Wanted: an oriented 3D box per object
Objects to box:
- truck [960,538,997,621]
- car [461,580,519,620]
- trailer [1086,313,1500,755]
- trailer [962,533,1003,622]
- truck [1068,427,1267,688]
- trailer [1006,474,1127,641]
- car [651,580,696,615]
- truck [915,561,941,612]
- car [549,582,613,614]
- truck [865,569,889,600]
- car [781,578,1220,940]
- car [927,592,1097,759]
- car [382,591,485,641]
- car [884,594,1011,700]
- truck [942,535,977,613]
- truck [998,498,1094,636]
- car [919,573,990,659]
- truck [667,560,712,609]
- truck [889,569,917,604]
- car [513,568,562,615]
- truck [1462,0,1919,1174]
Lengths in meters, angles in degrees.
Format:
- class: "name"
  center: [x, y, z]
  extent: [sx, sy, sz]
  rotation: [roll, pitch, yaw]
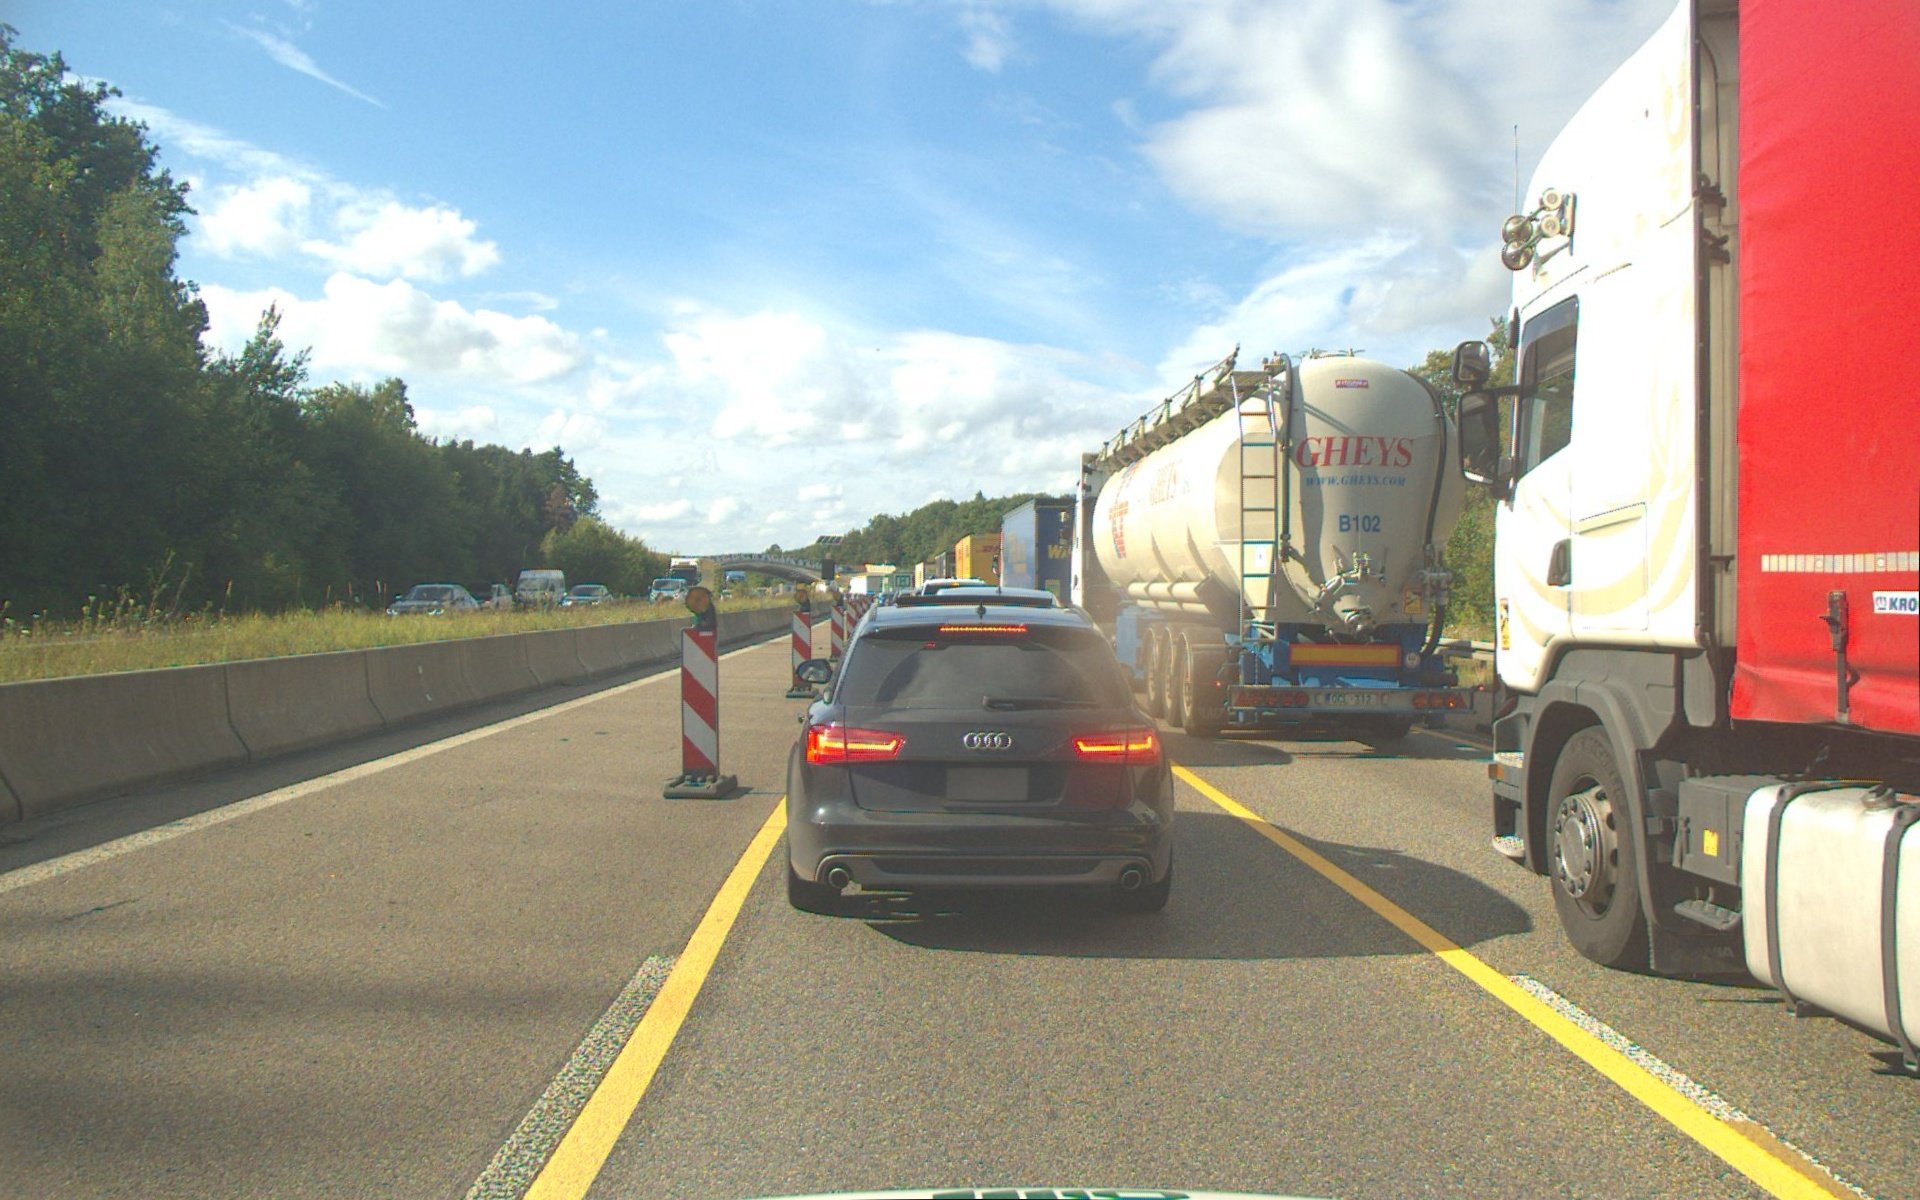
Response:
- class: "truck"
  center: [0.892, -0.978, 81.077]
  extent: [1.577, 3.965, 4.070]
  rotation: [1, 0, -2]
- class: "car"
  center: [-24.933, 0.001, 87.793]
  extent: [1.953, 2.049, 3.999]
  rotation: [1, 0, -1]
- class: "trailer"
  center: [3.549, -0.620, 21.512]
  extent: [2.590, 4.012, 12.595]
  rotation: [1, 0, -1]
- class: "trailer"
  center: [1.003, -0.996, 77.308]
  extent: [1.584, 3.987, 6.487]
  rotation: [1, 0, -2]
- class: "truck"
  center: [3.447, -0.658, 28.871]
  extent: [2.605, 4.041, 5.777]
  rotation: [1, 0, -1]
- class: "trailer"
  center: [3.024, -1.137, 50.060]
  extent: [2.748, 4.490, 10.430]
  rotation: [1, 0, -1]
- class: "car"
  center: [-17.471, -0.150, 100.958]
  extent: [1.953, 2.049, 4.830]
  rotation: [1, 0, -1]
- class: "truck"
  center: [-2.814, -1.114, 144.569]
  extent: [2.094, 4.332, 7.069]
  rotation: [1, 0, -1]
- class: "car"
  center: [-17.024, -0.083, 74.517]
  extent: [1.918, 1.386, 4.287]
  rotation: [1, 0, -1]
- class: "truck"
  center: [-11.996, -2.193, 237.315]
  extent: [3.239, 4.247, 9.694]
  rotation: [1, 0, -4]
- class: "car"
  center: [0.144, 0.669, 8.863]
  extent: [1.811, 1.489, 3.999]
  rotation: [1, 0, -1]
- class: "car"
  center: [0.444, 0.681, 16.465]
  extent: [1.493, 1.464, 3.284]
  rotation: [1, 0, -1]
- class: "car"
  center: [-15.834, 0.481, 49.916]
  extent: [1.743, 1.411, 4.309]
  rotation: [1, 0, -1]
- class: "car"
  center: [-0.198, 0.649, 24.399]
  extent: [1.716, 1.421, 3.607]
  rotation: [1, 0, -1]
- class: "truck"
  center: [-0.078, -1.720, 111.000]
  extent: [1.953, 5.000, 9.558]
  rotation: [1, 0, -2]
- class: "truck"
  center: [2.870, -1.056, 57.541]
  extent: [2.749, 4.446, 7.790]
  rotation: [1, 0, -1]
- class: "car"
  center: [-0.141, 0.353, 37.992]
  extent: [1.549, 1.869, 3.111]
  rotation: [1, 0, -1]
- class: "truck"
  center: [-22.741, -1.256, 139.352]
  extent: [2.769, 3.977, 5.947]
  rotation: [1, 0, -1]
- class: "truck"
  center: [-7.136, -1.642, 206.152]
  extent: [3.238, 4.248, 9.697]
  rotation: [1, 0, -3]
- class: "car"
  center: [-24.882, -0.492, 97.656]
  extent: [2.208, 2.689, 5.010]
  rotation: [1, 0, -8]
- class: "truck"
  center: [3.876, -0.463, 5.287]
  extent: [2.614, 4.029, 5.709]
  rotation: [1, 0, -2]
